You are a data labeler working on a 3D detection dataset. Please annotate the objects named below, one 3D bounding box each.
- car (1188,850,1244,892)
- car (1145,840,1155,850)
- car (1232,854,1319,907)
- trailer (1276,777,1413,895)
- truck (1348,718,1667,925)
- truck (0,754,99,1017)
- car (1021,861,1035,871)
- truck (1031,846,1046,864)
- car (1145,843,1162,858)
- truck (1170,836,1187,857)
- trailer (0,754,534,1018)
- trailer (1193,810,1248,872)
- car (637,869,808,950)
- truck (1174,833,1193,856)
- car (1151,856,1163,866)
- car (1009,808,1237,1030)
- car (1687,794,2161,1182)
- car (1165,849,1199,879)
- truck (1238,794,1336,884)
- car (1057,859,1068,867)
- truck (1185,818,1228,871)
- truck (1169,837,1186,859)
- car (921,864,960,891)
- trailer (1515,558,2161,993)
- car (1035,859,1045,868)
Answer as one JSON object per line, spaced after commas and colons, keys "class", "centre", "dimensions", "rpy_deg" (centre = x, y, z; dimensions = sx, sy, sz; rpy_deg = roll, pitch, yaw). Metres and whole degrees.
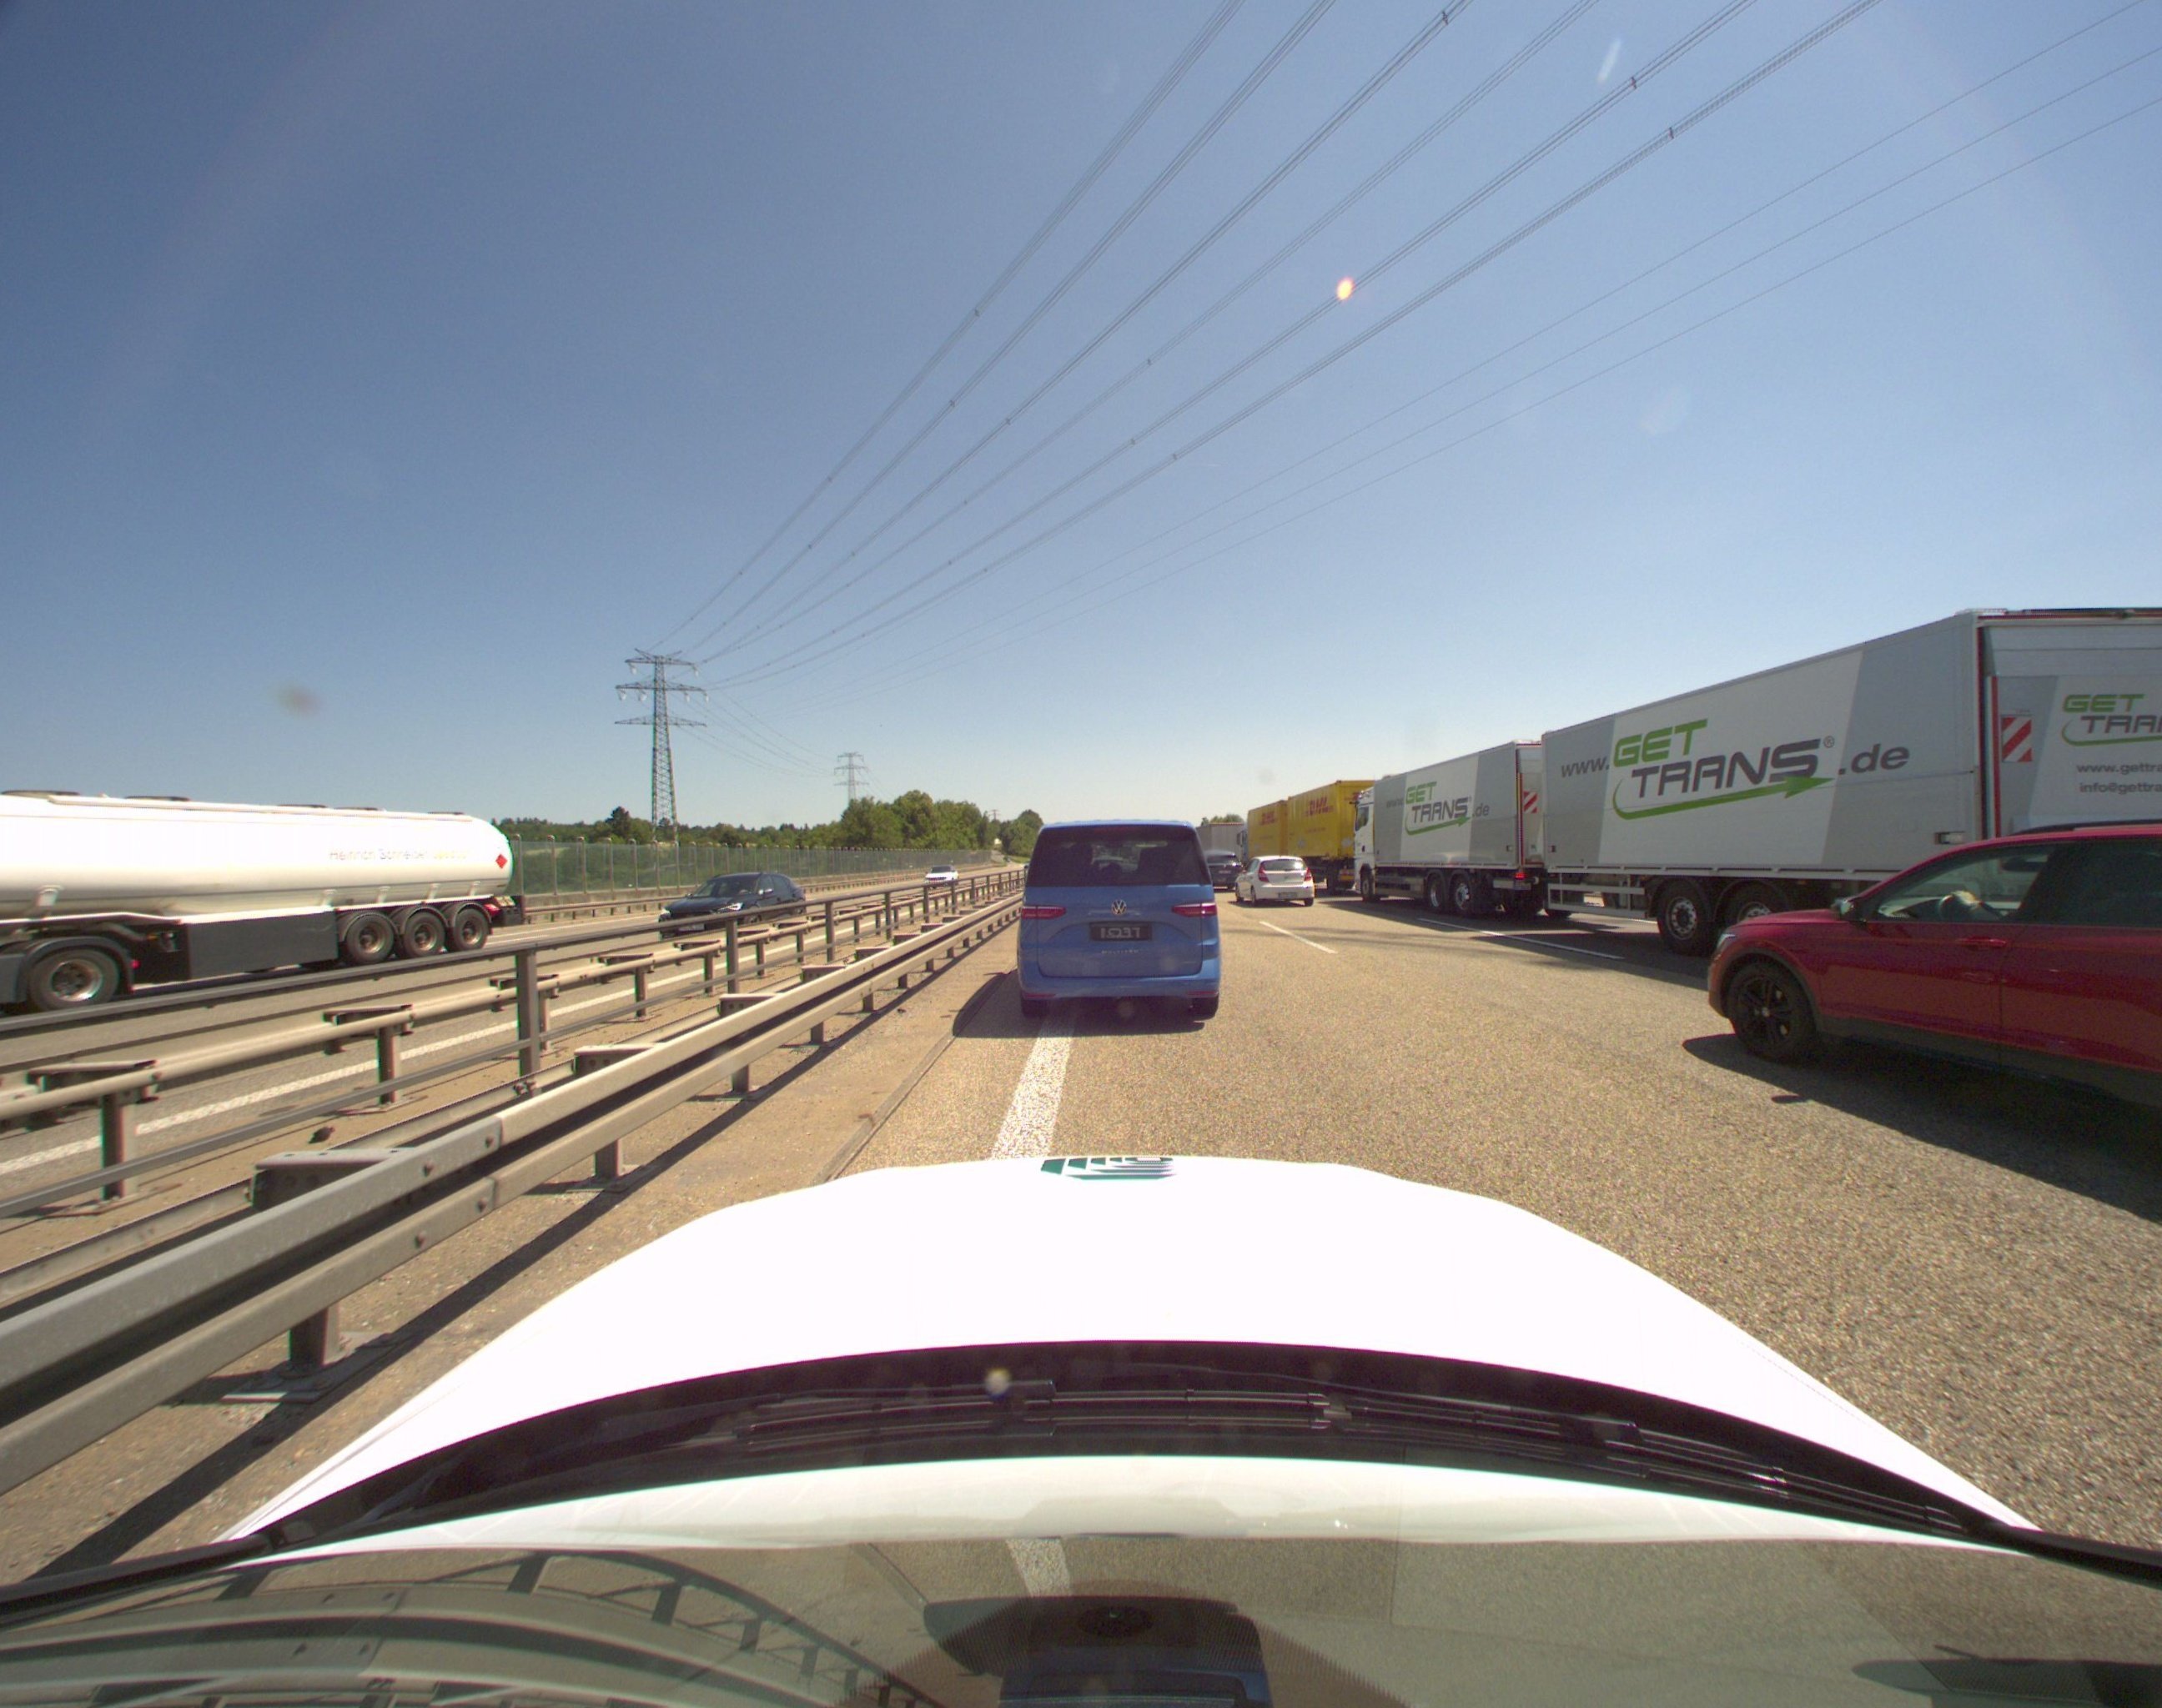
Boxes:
{"class": "car", "centre": [5.718, 0.728, 34.892], "dimensions": [1.808, 1.679, 3.933], "rpy_deg": [0, -1, 1]}
{"class": "car", "centre": [12.883, -1.718, 151.936], "dimensions": [1.790, 1.751, 3.945], "rpy_deg": [0, -1, 2]}
{"class": "car", "centre": [5.869, 0.780, 24.988], "dimensions": [1.808, 1.470, 3.933], "rpy_deg": [0, -1, 1]}
{"class": "trailer", "centre": [10.232, -0.583, 32.776], "dimensions": [2.673, 4.088, 8.980], "rpy_deg": [0, -1, 1]}
{"class": "truck", "centre": [9.862, -0.555, 20.837], "dimensions": [2.841, 3.934, 10.613], "rpy_deg": [0, -1, 2]}
{"class": "truck", "centre": [-15.829, 0.457, 9.319], "dimensions": [2.510, 3.535, 5.333], "rpy_deg": [-3, -1, 2]}
{"class": "car", "centre": [-8.771, 2.012, 135.749], "dimensions": [1.865, 1.442, 4.386], "rpy_deg": [-3, -1, 1]}
{"class": "truck", "centre": [-10.694, 0.175, 206.485], "dimensions": [2.917, 4.293, 6.862], "rpy_deg": [-4, -1, 3]}
{"class": "car", "centre": [8.758, -0.451, 98.782], "dimensions": [1.912, 1.706, 4.001], "rpy_deg": [0, -1, 2]}
{"class": "truck", "centre": [12.423, -0.951, 104.324], "dimensions": [1.790, 2.596, 4.307], "rpy_deg": [0, -1, 2]}
{"class": "trailer", "centre": [-15.569, 0.543, 15.479], "dimensions": [2.489, 3.540, 10.909], "rpy_deg": [-3, -1, 2]}
{"class": "trailer", "centre": [11.127, -0.928, 66.135], "dimensions": [3.014, 4.611, 10.930], "rpy_deg": [0, -1, 2]}
{"class": "car", "centre": [-7.673, 1.116, 17.931], "dimensions": [1.875, 1.552, 4.189], "rpy_deg": [0, -1, 0]}
{"class": "truck", "centre": [11.330, -1.062, 90.300], "dimensions": [1.791, 2.449, 4.506], "rpy_deg": [0, -1, 2]}
{"class": "car", "centre": [12.642, 1.163, 136.189], "dimensions": [1.790, 1.751, 3.945], "rpy_deg": [0, -1, 2]}
{"class": "car", "centre": [0.421, 0.581, 8.931], "dimensions": [1.923, 1.874, 4.001], "rpy_deg": [0, -1, 2]}
{"class": "car", "centre": [5.578, 0.592, 4.317], "dimensions": [1.701, 1.679, 4.288], "rpy_deg": [0, -1, 3]}
{"class": "car", "centre": [6.922, 0.691, 56.284], "dimensions": [1.955, 1.936, 3.933], "rpy_deg": [0, -1, 2]}
{"class": "truck", "centre": [10.356, -0.625, 42.175], "dimensions": [2.690, 4.088, 9.940], "rpy_deg": [0, -1, 1]}
{"class": "car", "centre": [-3.823, 1.888, 167.702], "dimensions": [1.865, 1.530, 3.609], "rpy_deg": [-7, -1, 1]}
{"class": "truck", "centre": [11.531, -0.797, 75.559], "dimensions": [3.014, 4.611, 7.925], "rpy_deg": [0, -1, 2]}
{"class": "truck", "centre": [11.710, -0.698, 99.086], "dimensions": [1.735, 2.549, 4.212], "rpy_deg": [0, -1, 2]}
{"class": "car", "centre": [-9.266, 1.517, 53.994], "dimensions": [1.800, 1.640, 4.000], "rpy_deg": [-4, -1, 1]}
{"class": "trailer", "centre": [9.617, -0.656, 11.388], "dimensions": [2.888, 3.891, 8.216], "rpy_deg": [0, -1, 2]}
{"class": "car", "centre": [-8.391, 1.974, 166.960], "dimensions": [1.833, 1.822, 4.748], "rpy_deg": [-2, -1, 1]}
